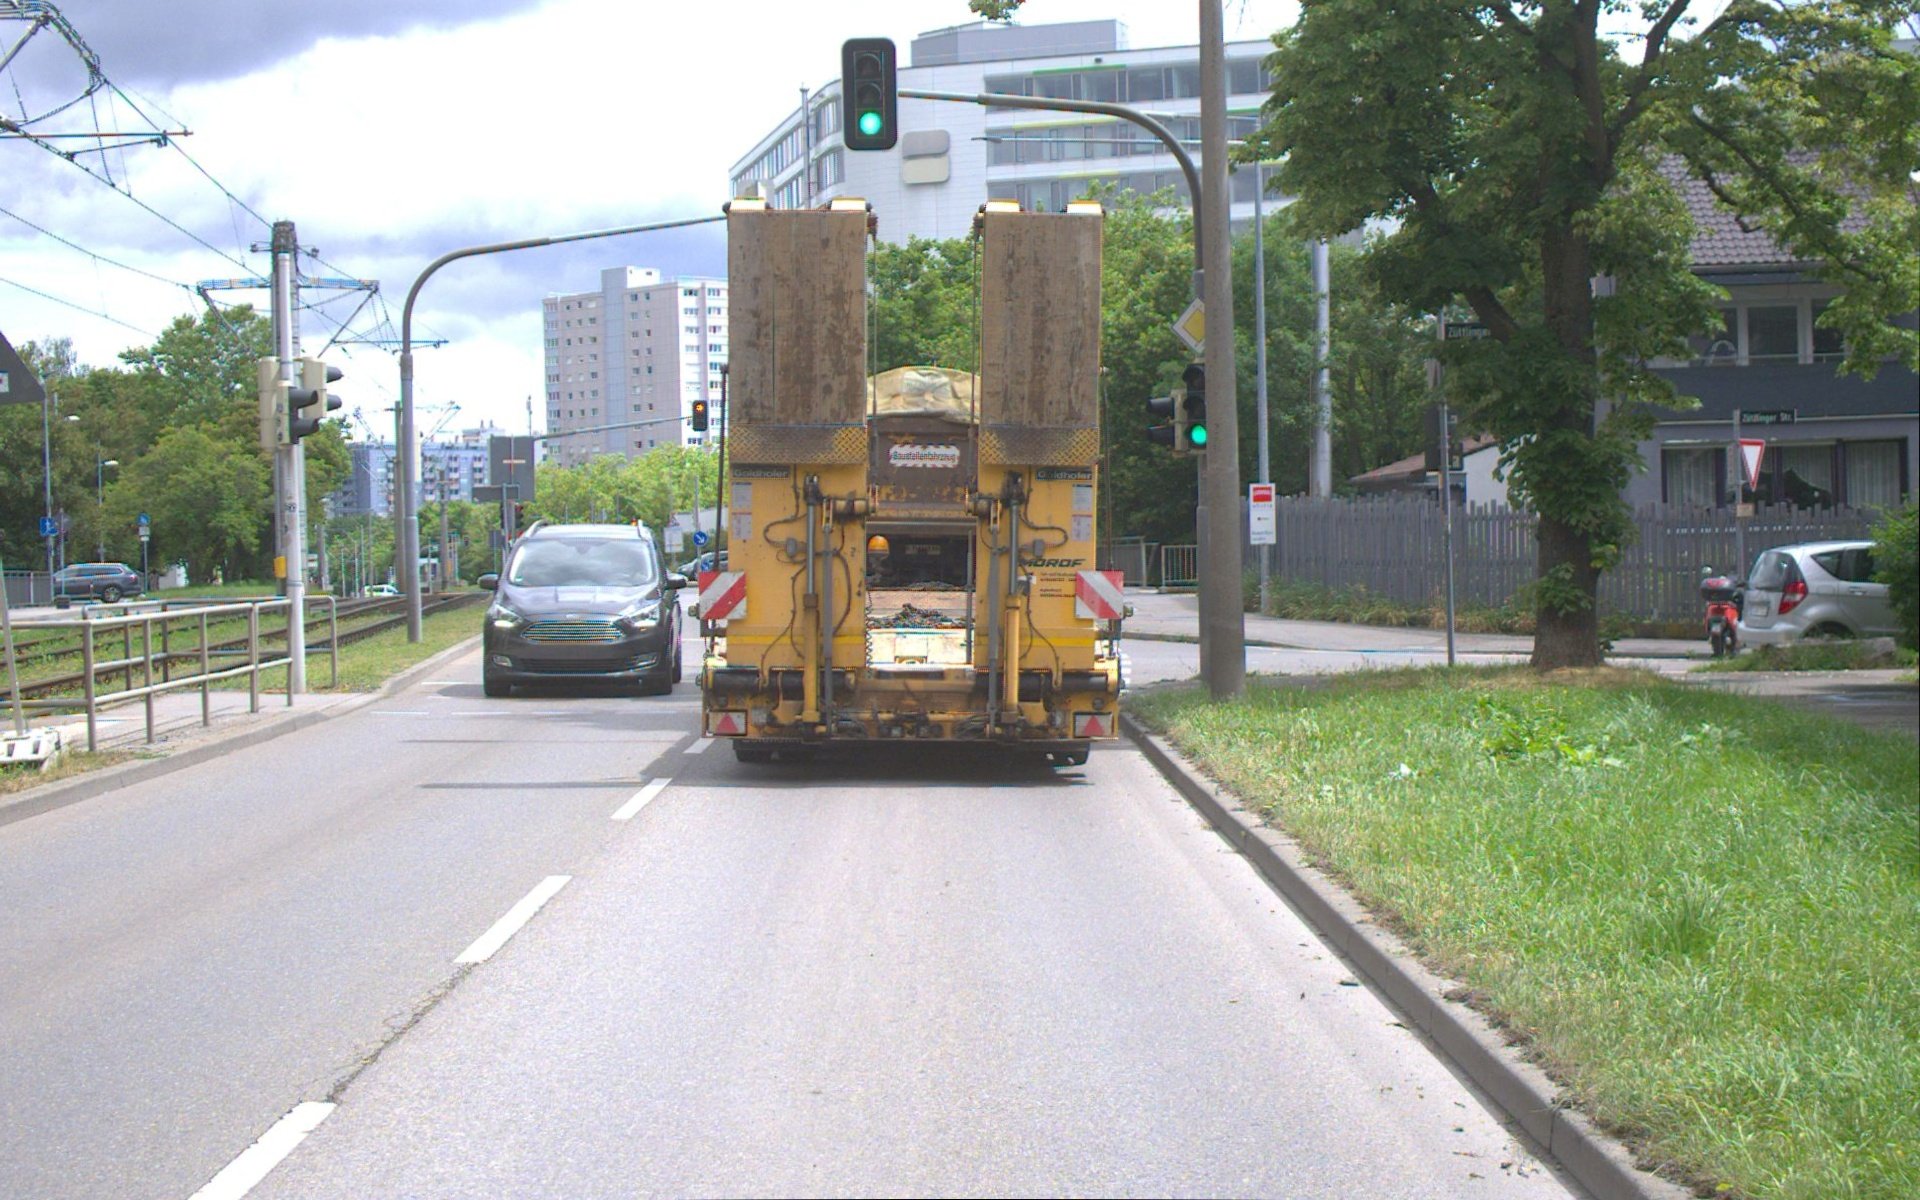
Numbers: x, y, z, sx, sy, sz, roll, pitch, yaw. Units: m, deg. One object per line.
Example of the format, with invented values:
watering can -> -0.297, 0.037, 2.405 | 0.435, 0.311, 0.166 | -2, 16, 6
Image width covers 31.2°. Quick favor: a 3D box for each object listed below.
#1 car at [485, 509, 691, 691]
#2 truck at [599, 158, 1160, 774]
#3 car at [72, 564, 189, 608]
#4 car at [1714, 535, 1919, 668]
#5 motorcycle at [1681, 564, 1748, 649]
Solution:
car -> -3.603, -0.043, 33.893 | 1.707, 1.670, 4.229 | 1, 1, -2
truck -> -0.696, -0.850, 26.635 | 3.316, 3.638, 12.563 | 0, 1, -2
car -> -30.141, -0.498, 125.014 | 3.986, 1.547, 2.001 | 0, 1, -10
car -> 11.374, -0.002, 41.567 | 3.986, 1.548, 1.940 | 0, 1, -8
motorcycle -> 10.397, 0.078, 47.337 | 0.659, 1.145, 2.422 | 1, 1, 18
